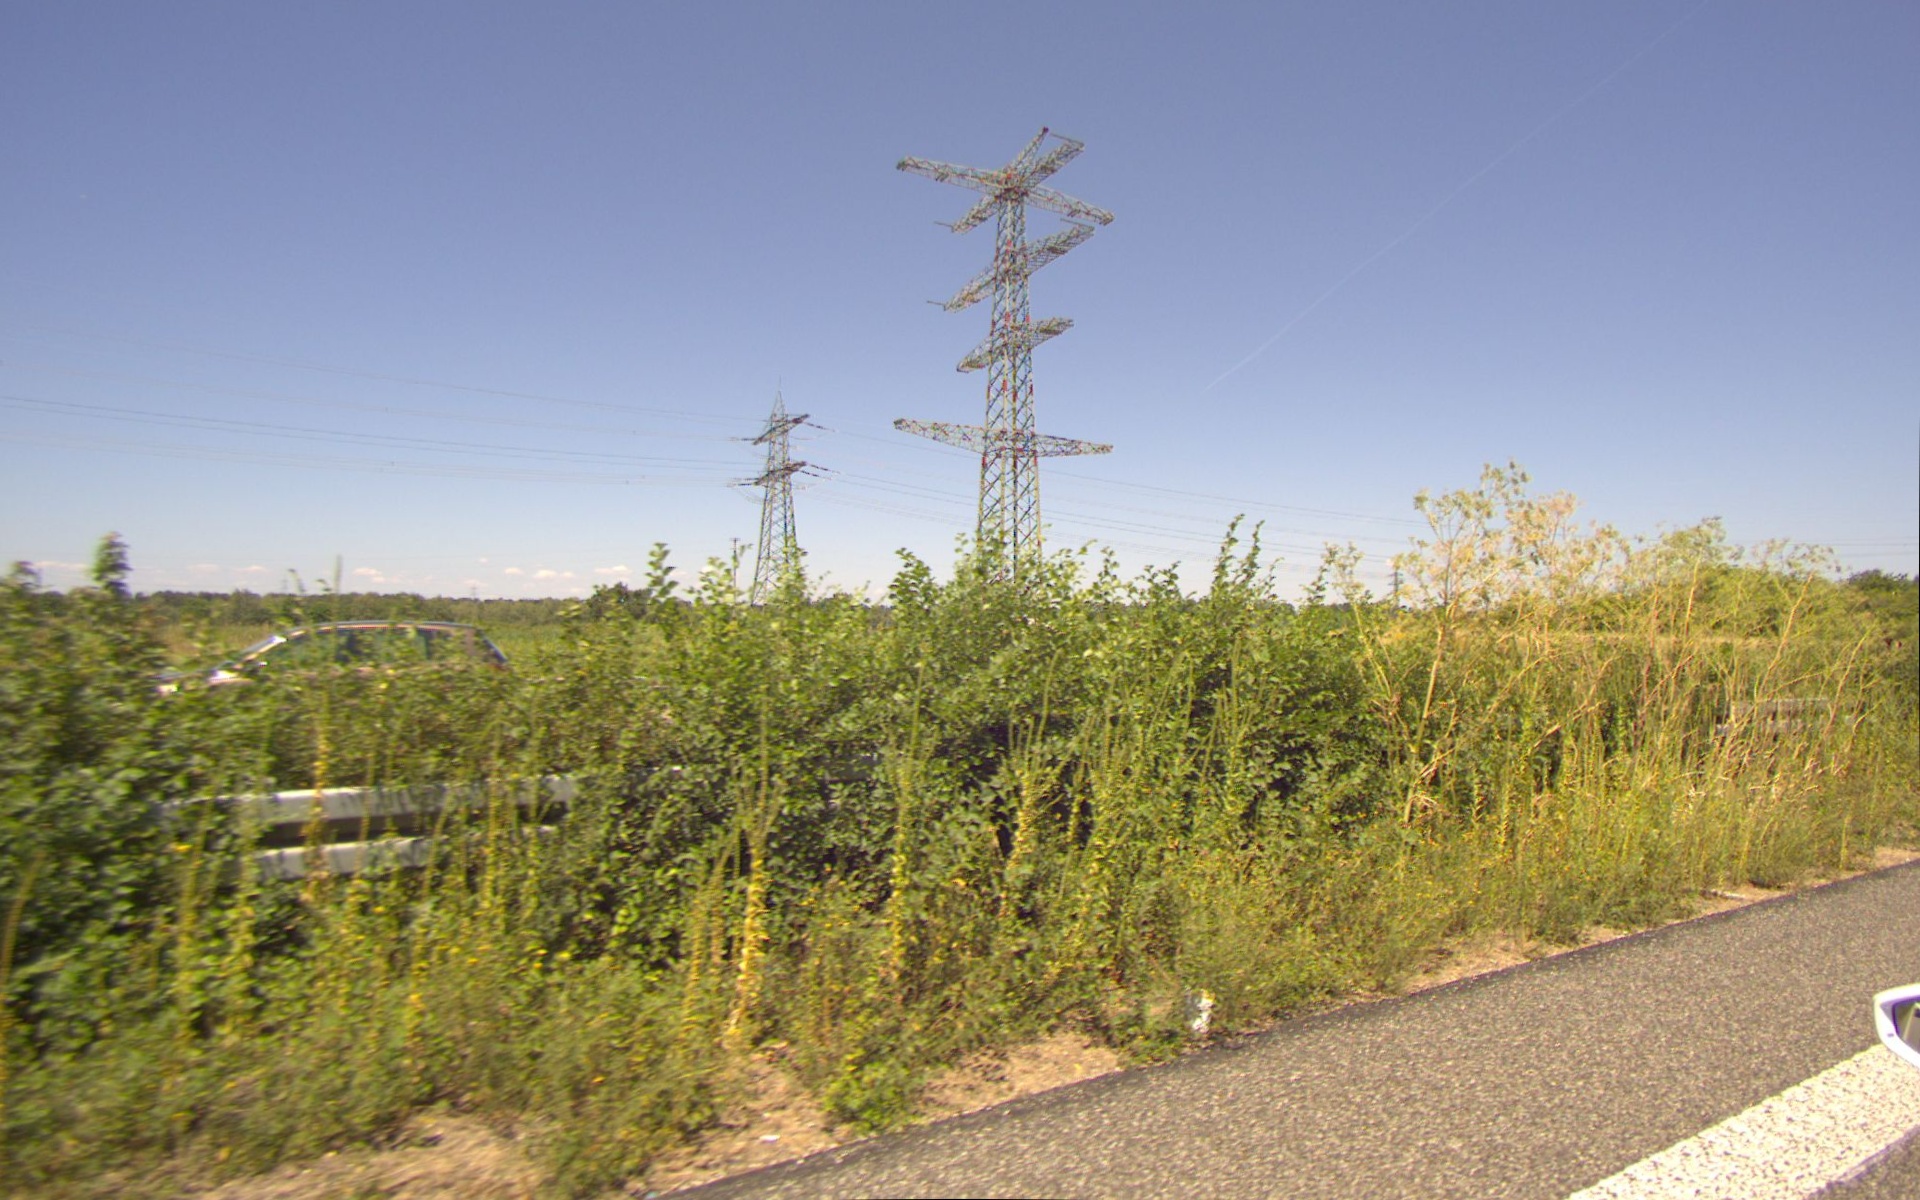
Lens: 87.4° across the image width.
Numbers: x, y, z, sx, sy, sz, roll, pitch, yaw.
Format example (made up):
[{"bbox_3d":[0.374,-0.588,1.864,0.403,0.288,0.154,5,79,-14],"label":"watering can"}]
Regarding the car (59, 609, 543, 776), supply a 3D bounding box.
[{"bbox_3d":[-7.562,0.986,12.061,4.505,1.676,1.853,1,-1,-31],"label":"car"}]
